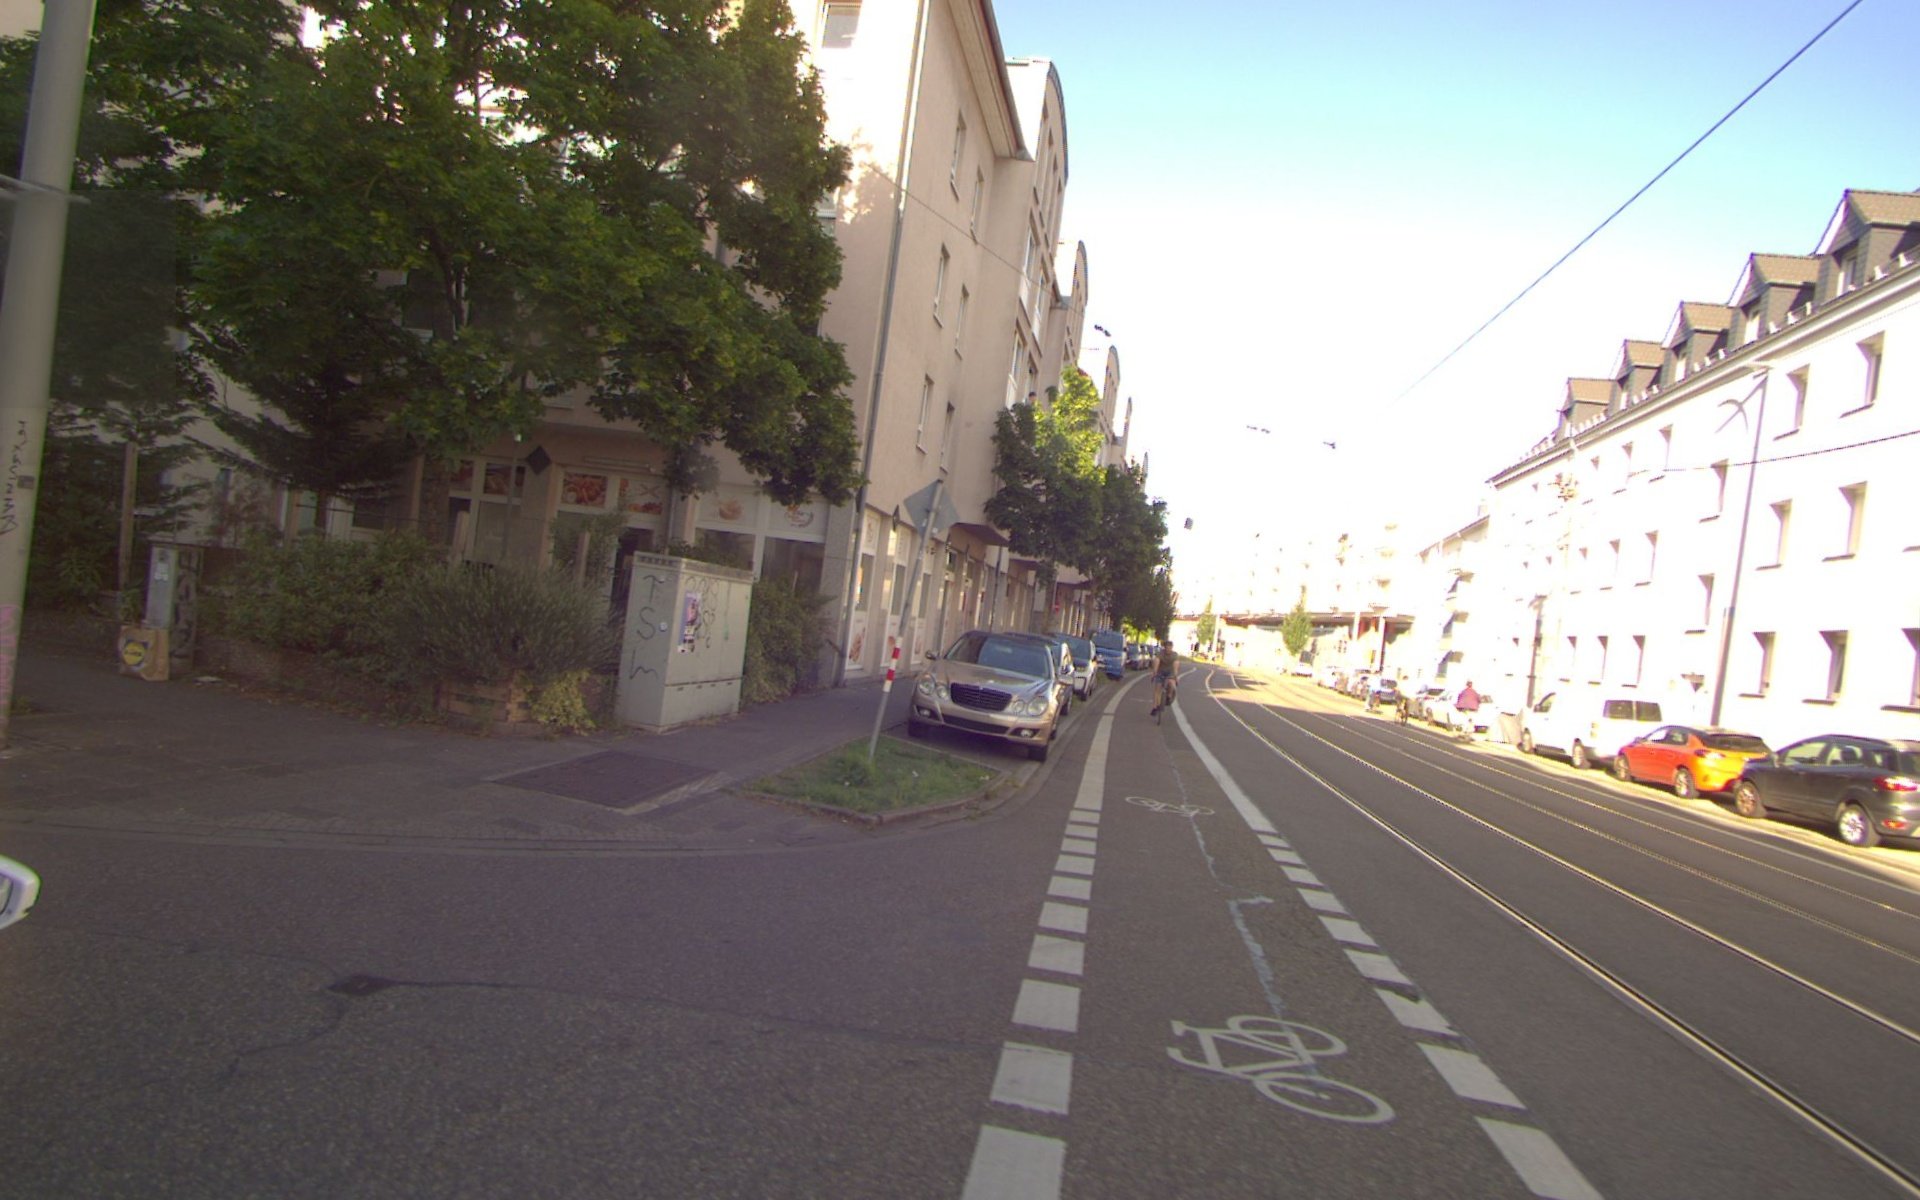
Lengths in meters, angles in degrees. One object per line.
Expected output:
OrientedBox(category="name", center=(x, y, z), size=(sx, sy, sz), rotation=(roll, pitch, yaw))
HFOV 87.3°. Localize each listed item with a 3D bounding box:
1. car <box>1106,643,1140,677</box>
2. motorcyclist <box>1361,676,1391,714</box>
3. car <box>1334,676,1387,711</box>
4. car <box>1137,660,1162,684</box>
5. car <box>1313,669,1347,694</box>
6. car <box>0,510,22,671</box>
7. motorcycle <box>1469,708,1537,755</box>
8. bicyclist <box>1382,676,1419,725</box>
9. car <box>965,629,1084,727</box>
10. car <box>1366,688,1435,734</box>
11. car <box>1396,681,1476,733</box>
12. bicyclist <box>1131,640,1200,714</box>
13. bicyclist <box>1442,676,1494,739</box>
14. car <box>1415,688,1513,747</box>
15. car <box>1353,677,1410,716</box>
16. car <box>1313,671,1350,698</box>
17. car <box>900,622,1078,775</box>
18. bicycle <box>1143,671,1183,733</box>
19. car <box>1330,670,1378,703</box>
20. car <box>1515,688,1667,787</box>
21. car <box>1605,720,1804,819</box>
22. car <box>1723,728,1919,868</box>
OrientedBox(category="car", center=(9.178, 3.358, 56.472), size=(1.638, 1.637, 4.004), rotation=(7, -1, 10))
OrientedBox(category="motorcyclist", center=(16.813, 3.826, 40.641), size=(0.716, 1.422, 1.021), rotation=(7, -1, 8))
OrientedBox(category="car", center=(23.806, 5.507, 59.921), size=(1.815, 1.665, 4.554), rotation=(7, -2, 10))
OrientedBox(category="car", center=(13.990, 5.301, 74.421), size=(1.566, 1.558, 3.194), rotation=(7, -2, 10))
OrientedBox(category="car", center=(29.303, 6.440, 79.744), size=(1.815, 1.665, 4.353), rotation=(7, -2, 13))
OrientedBox(category="car", center=(-8.765, -0.217, 6.521), size=(4.483, 1.404, 1.716), rotation=(7, -2, 15))
OrientedBox(category="motorcycle", center=(16.979, 4.101, 31.484), size=(0.487, 1.158, 1.757), rotation=(8, -1, -30))
OrientedBox(category="bicyclist", center=(14.627, 3.321, 33.422), size=(0.716, 1.479, 1.021), rotation=(7, -1, 8))
OrientedBox(category="car", center=(1.345, 1.443, 19.353), size=(1.800, 1.507, 4.004), rotation=(5, -2, 9))
OrientedBox(category="car", center=(20.230, 5.068, 46.380), size=(1.815, 1.665, 3.969), rotation=(7, -2, 10))
OrientedBox(category="car", center=(19.590, 4.375, 41.597), size=(1.815, 1.665, 3.966), rotation=(7, -2, 10))
OrientedBox(category="bicyclist", center=(4.239, 1.587, 20.891), size=(1.164, 1.346, 1.096), rotation=(7, -1, 7))
OrientedBox(category="bicyclist", center=(15.125, 3.194, 29.976), size=(0.919, 1.696, 0.970), rotation=(7, -1, 8))
OrientedBox(category="car", center=(18.520, 4.279, 37.230), size=(1.815, 1.665, 4.554), rotation=(7, -2, 10))
OrientedBox(category="car", center=(22.773, 5.194, 54.554), size=(1.815, 1.665, 3.969), rotation=(7, -2, 10))
OrientedBox(category="car", center=(27.743, 6.278, 75.210), size=(1.815, 1.665, 4.218), rotation=(7, -2, 13))
OrientedBox(category="car", center=(0.551, 1.219, 13.547), size=(1.717, 1.459, 4.004), rotation=(10, -1, 9))
OrientedBox(category="bicycle", center=(4.185, 2.079, 20.810), size=(0.612, 1.114, 1.962), rotation=(4, -2, 8))
OrientedBox(category="car", center=(25.312, 5.532, 64.755), size=(1.815, 1.776, 4.554), rotation=(7, -2, 10))
OrientedBox(category="car", center=(16.219, 3.465, 26.123), size=(1.758, 1.994, 4.159), rotation=(6, -2, 10))
OrientedBox(category="car", center=(15.434, 3.459, 21.120), size=(1.767, 1.501, 3.783), rotation=(4, -2, 10))
OrientedBox(category="car", center=(14.547, 3.150, 16.402), size=(1.634, 1.689, 3.908), rotation=(4, -2, 10))
